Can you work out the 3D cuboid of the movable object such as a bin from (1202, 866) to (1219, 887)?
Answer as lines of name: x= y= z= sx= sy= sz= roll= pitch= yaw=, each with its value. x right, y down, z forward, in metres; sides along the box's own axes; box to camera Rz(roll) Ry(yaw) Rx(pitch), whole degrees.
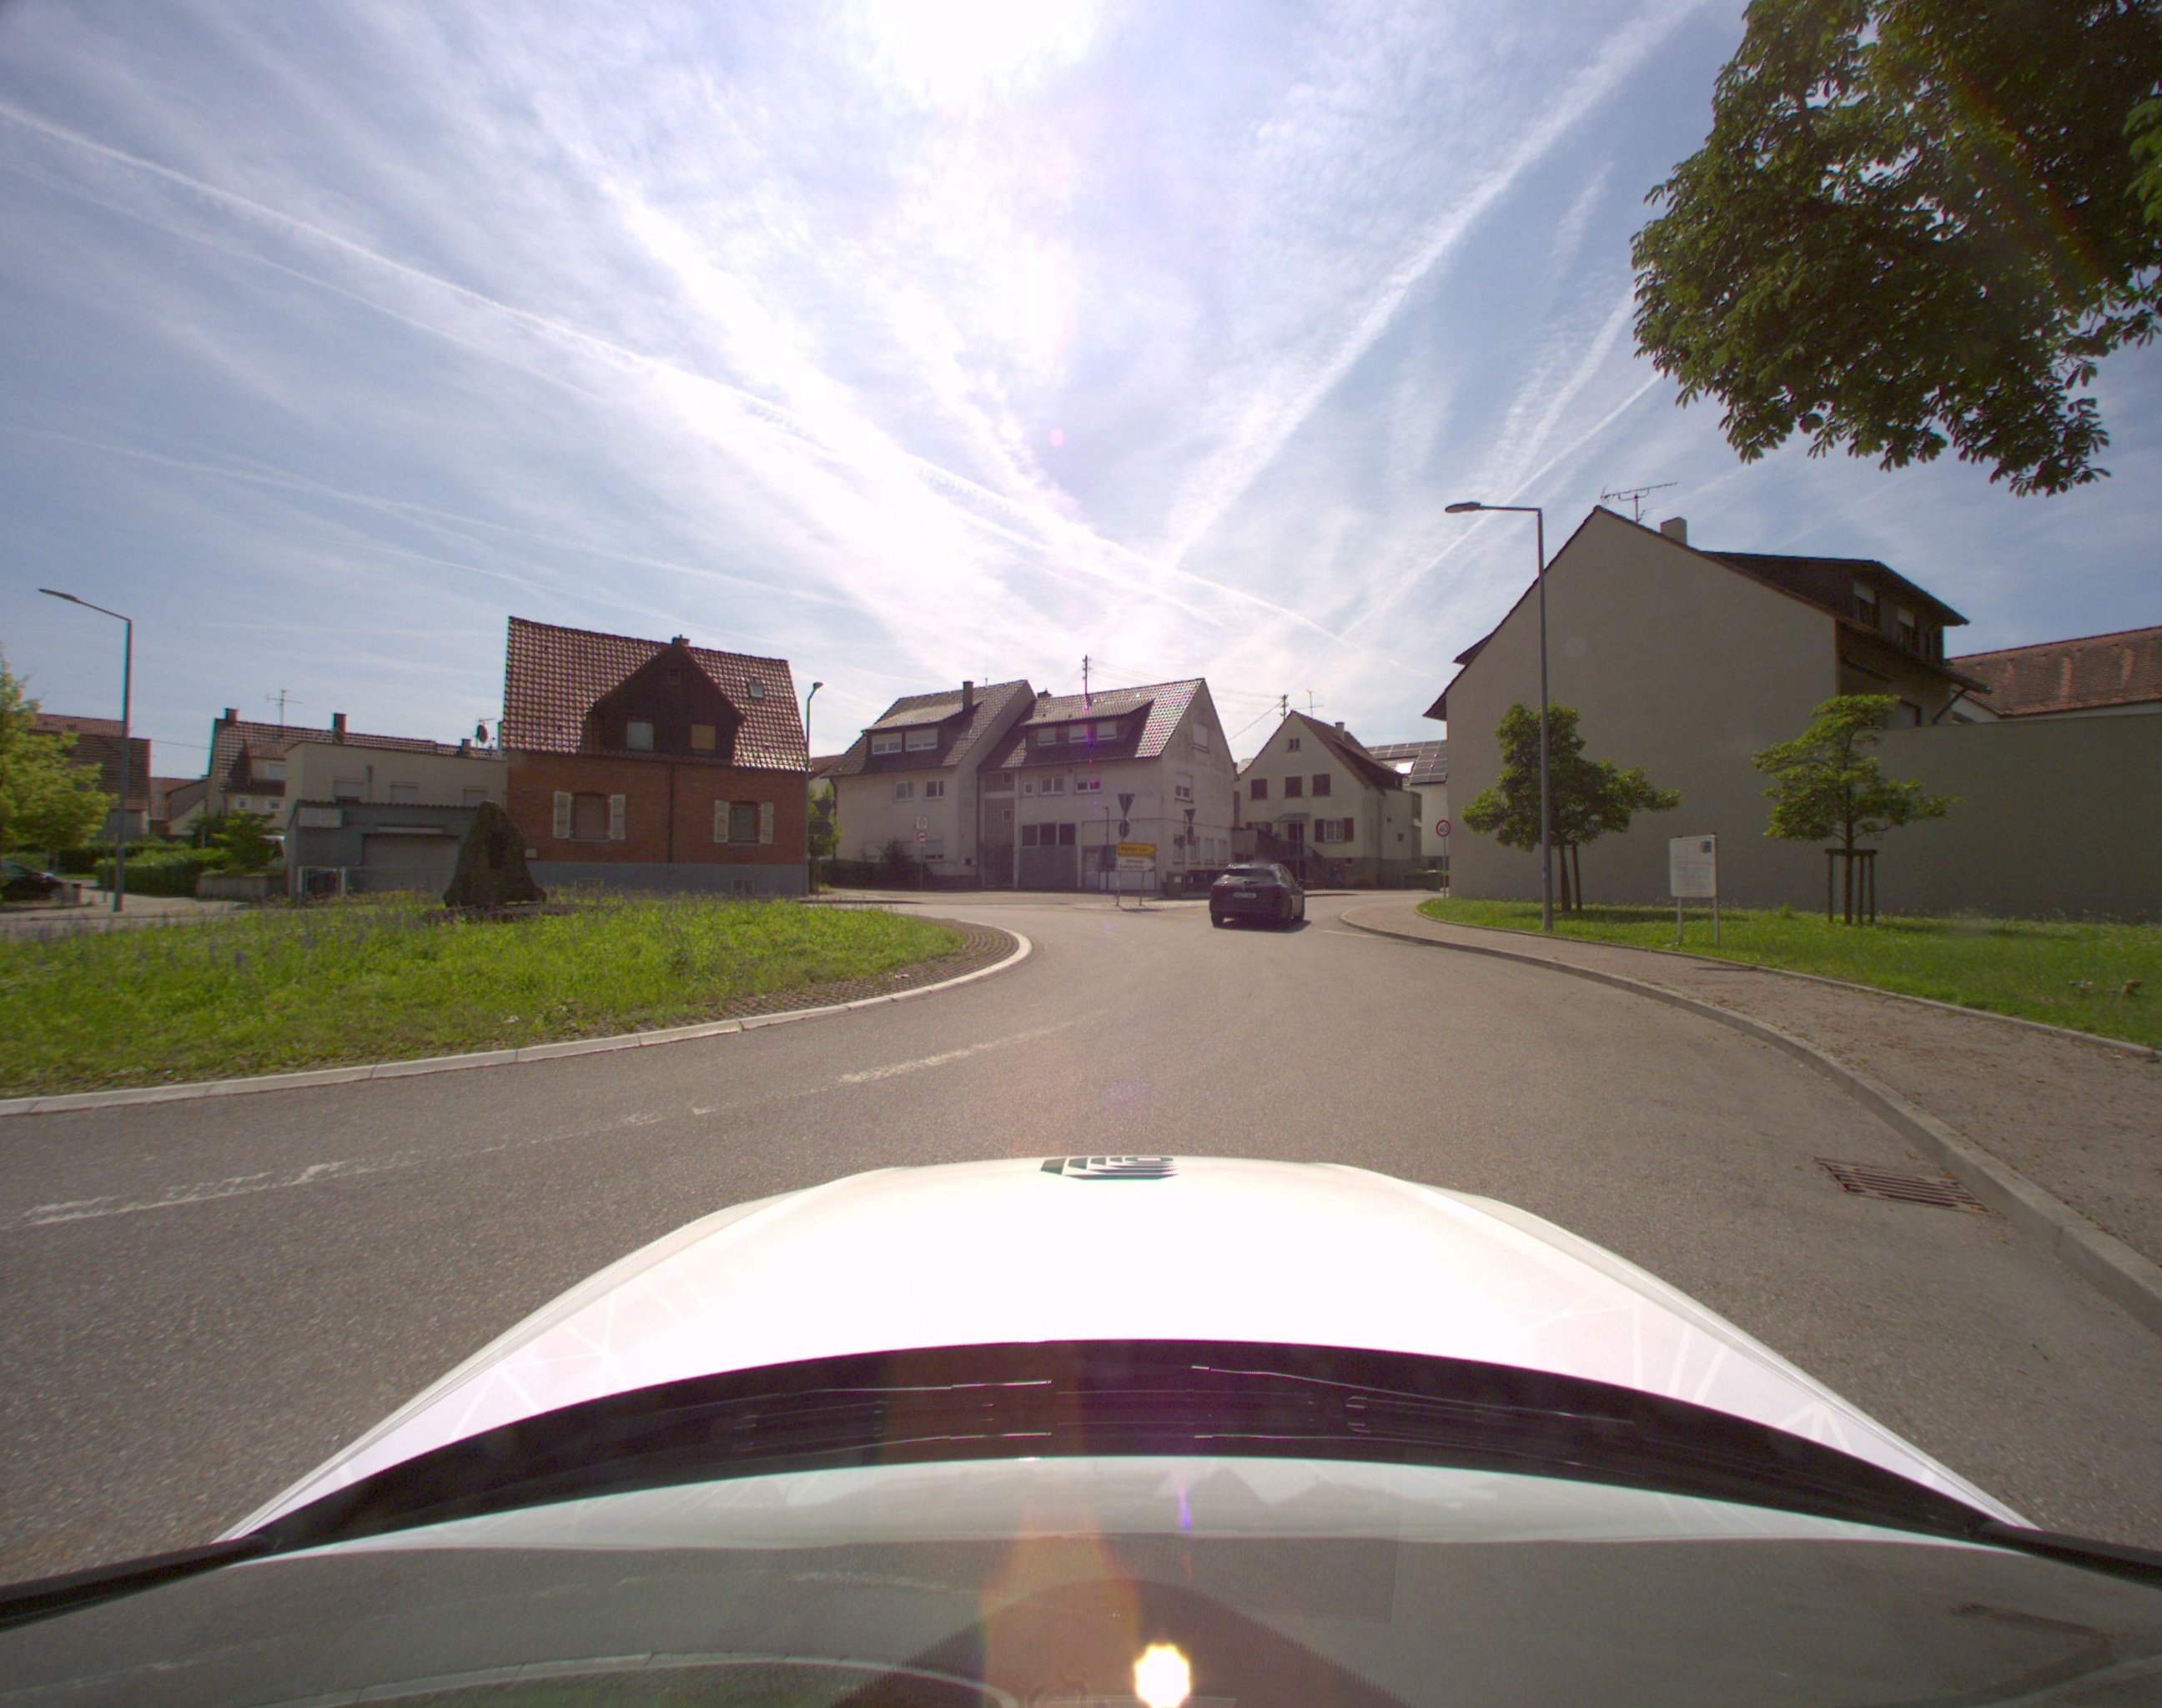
movable object such as a bin: x=6.702 y=1.169 z=42.062 sx=0.676 sy=1.082 sz=0.702 roll=0 pitch=-1 yaw=30

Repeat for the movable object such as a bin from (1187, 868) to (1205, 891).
movable object such as a bin: x=5.652 y=1.247 z=40.106 sx=0.676 sy=1.086 sz=0.649 roll=0 pitch=-1 yaw=30

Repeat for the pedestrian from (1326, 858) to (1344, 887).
pedestrian: x=14.002 y=1.018 z=44.904 sx=0.631 sy=1.574 sz=0.770 roll=0 pitch=-1 yaw=-43

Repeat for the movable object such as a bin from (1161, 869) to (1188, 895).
movable object such as a bin: x=3.939 y=1.167 z=34.402 sx=0.828 sy=1.045 sz=0.805 roll=0 pitch=-1 yaw=-24

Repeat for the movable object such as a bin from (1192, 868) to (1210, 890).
movable object such as a bin: x=5.993 y=1.236 z=40.714 sx=0.676 sy=1.086 sz=0.702 roll=0 pitch=-1 yaw=30

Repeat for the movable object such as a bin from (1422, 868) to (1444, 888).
movable object such as a bin: x=18.429 y=1.255 z=42.636 sx=0.654 sy=1.057 sz=0.785 roll=0 pitch=-1 yaw=-37

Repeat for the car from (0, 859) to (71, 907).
car: x=-37.428 y=0.979 z=27.453 sx=1.808 sy=1.618 sz=3.994 roll=0 pitch=-1 yaw=-4

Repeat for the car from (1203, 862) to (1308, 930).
car: x=4.356 y=0.913 z=19.748 sx=1.826 sy=1.420 sz=4.706 roll=0 pitch=0 yaw=20

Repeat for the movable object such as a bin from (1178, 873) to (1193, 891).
movable object such as a bin: x=4.998 y=1.330 z=39.004 sx=0.480 sy=0.805 sz=0.651 roll=0 pitch=-1 yaw=31

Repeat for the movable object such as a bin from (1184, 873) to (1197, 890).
movable object such as a bin: x=5.329 y=1.342 z=39.562 sx=0.480 sy=0.780 sz=0.530 roll=0 pitch=-1 yaw=30

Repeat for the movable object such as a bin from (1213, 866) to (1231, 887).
movable object such as a bin: x=7.430 y=1.165 z=42.911 sx=0.732 sy=1.082 sz=0.664 roll=0 pitch=-1 yaw=30

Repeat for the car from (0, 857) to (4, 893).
car: x=-50.551 y=0.922 z=35.733 sx=1.870 sy=1.669 sz=3.978 roll=1 pitch=-1 yaw=-16

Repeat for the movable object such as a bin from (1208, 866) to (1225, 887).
movable object such as a bin: x=7.060 y=1.160 z=42.341 sx=0.676 sy=1.082 sz=0.629 roll=0 pitch=-1 yaw=30

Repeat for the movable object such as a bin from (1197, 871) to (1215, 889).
movable object such as a bin: x=6.357 y=1.315 z=41.361 sx=0.676 sy=0.896 sz=0.702 roll=0 pitch=-1 yaw=30
